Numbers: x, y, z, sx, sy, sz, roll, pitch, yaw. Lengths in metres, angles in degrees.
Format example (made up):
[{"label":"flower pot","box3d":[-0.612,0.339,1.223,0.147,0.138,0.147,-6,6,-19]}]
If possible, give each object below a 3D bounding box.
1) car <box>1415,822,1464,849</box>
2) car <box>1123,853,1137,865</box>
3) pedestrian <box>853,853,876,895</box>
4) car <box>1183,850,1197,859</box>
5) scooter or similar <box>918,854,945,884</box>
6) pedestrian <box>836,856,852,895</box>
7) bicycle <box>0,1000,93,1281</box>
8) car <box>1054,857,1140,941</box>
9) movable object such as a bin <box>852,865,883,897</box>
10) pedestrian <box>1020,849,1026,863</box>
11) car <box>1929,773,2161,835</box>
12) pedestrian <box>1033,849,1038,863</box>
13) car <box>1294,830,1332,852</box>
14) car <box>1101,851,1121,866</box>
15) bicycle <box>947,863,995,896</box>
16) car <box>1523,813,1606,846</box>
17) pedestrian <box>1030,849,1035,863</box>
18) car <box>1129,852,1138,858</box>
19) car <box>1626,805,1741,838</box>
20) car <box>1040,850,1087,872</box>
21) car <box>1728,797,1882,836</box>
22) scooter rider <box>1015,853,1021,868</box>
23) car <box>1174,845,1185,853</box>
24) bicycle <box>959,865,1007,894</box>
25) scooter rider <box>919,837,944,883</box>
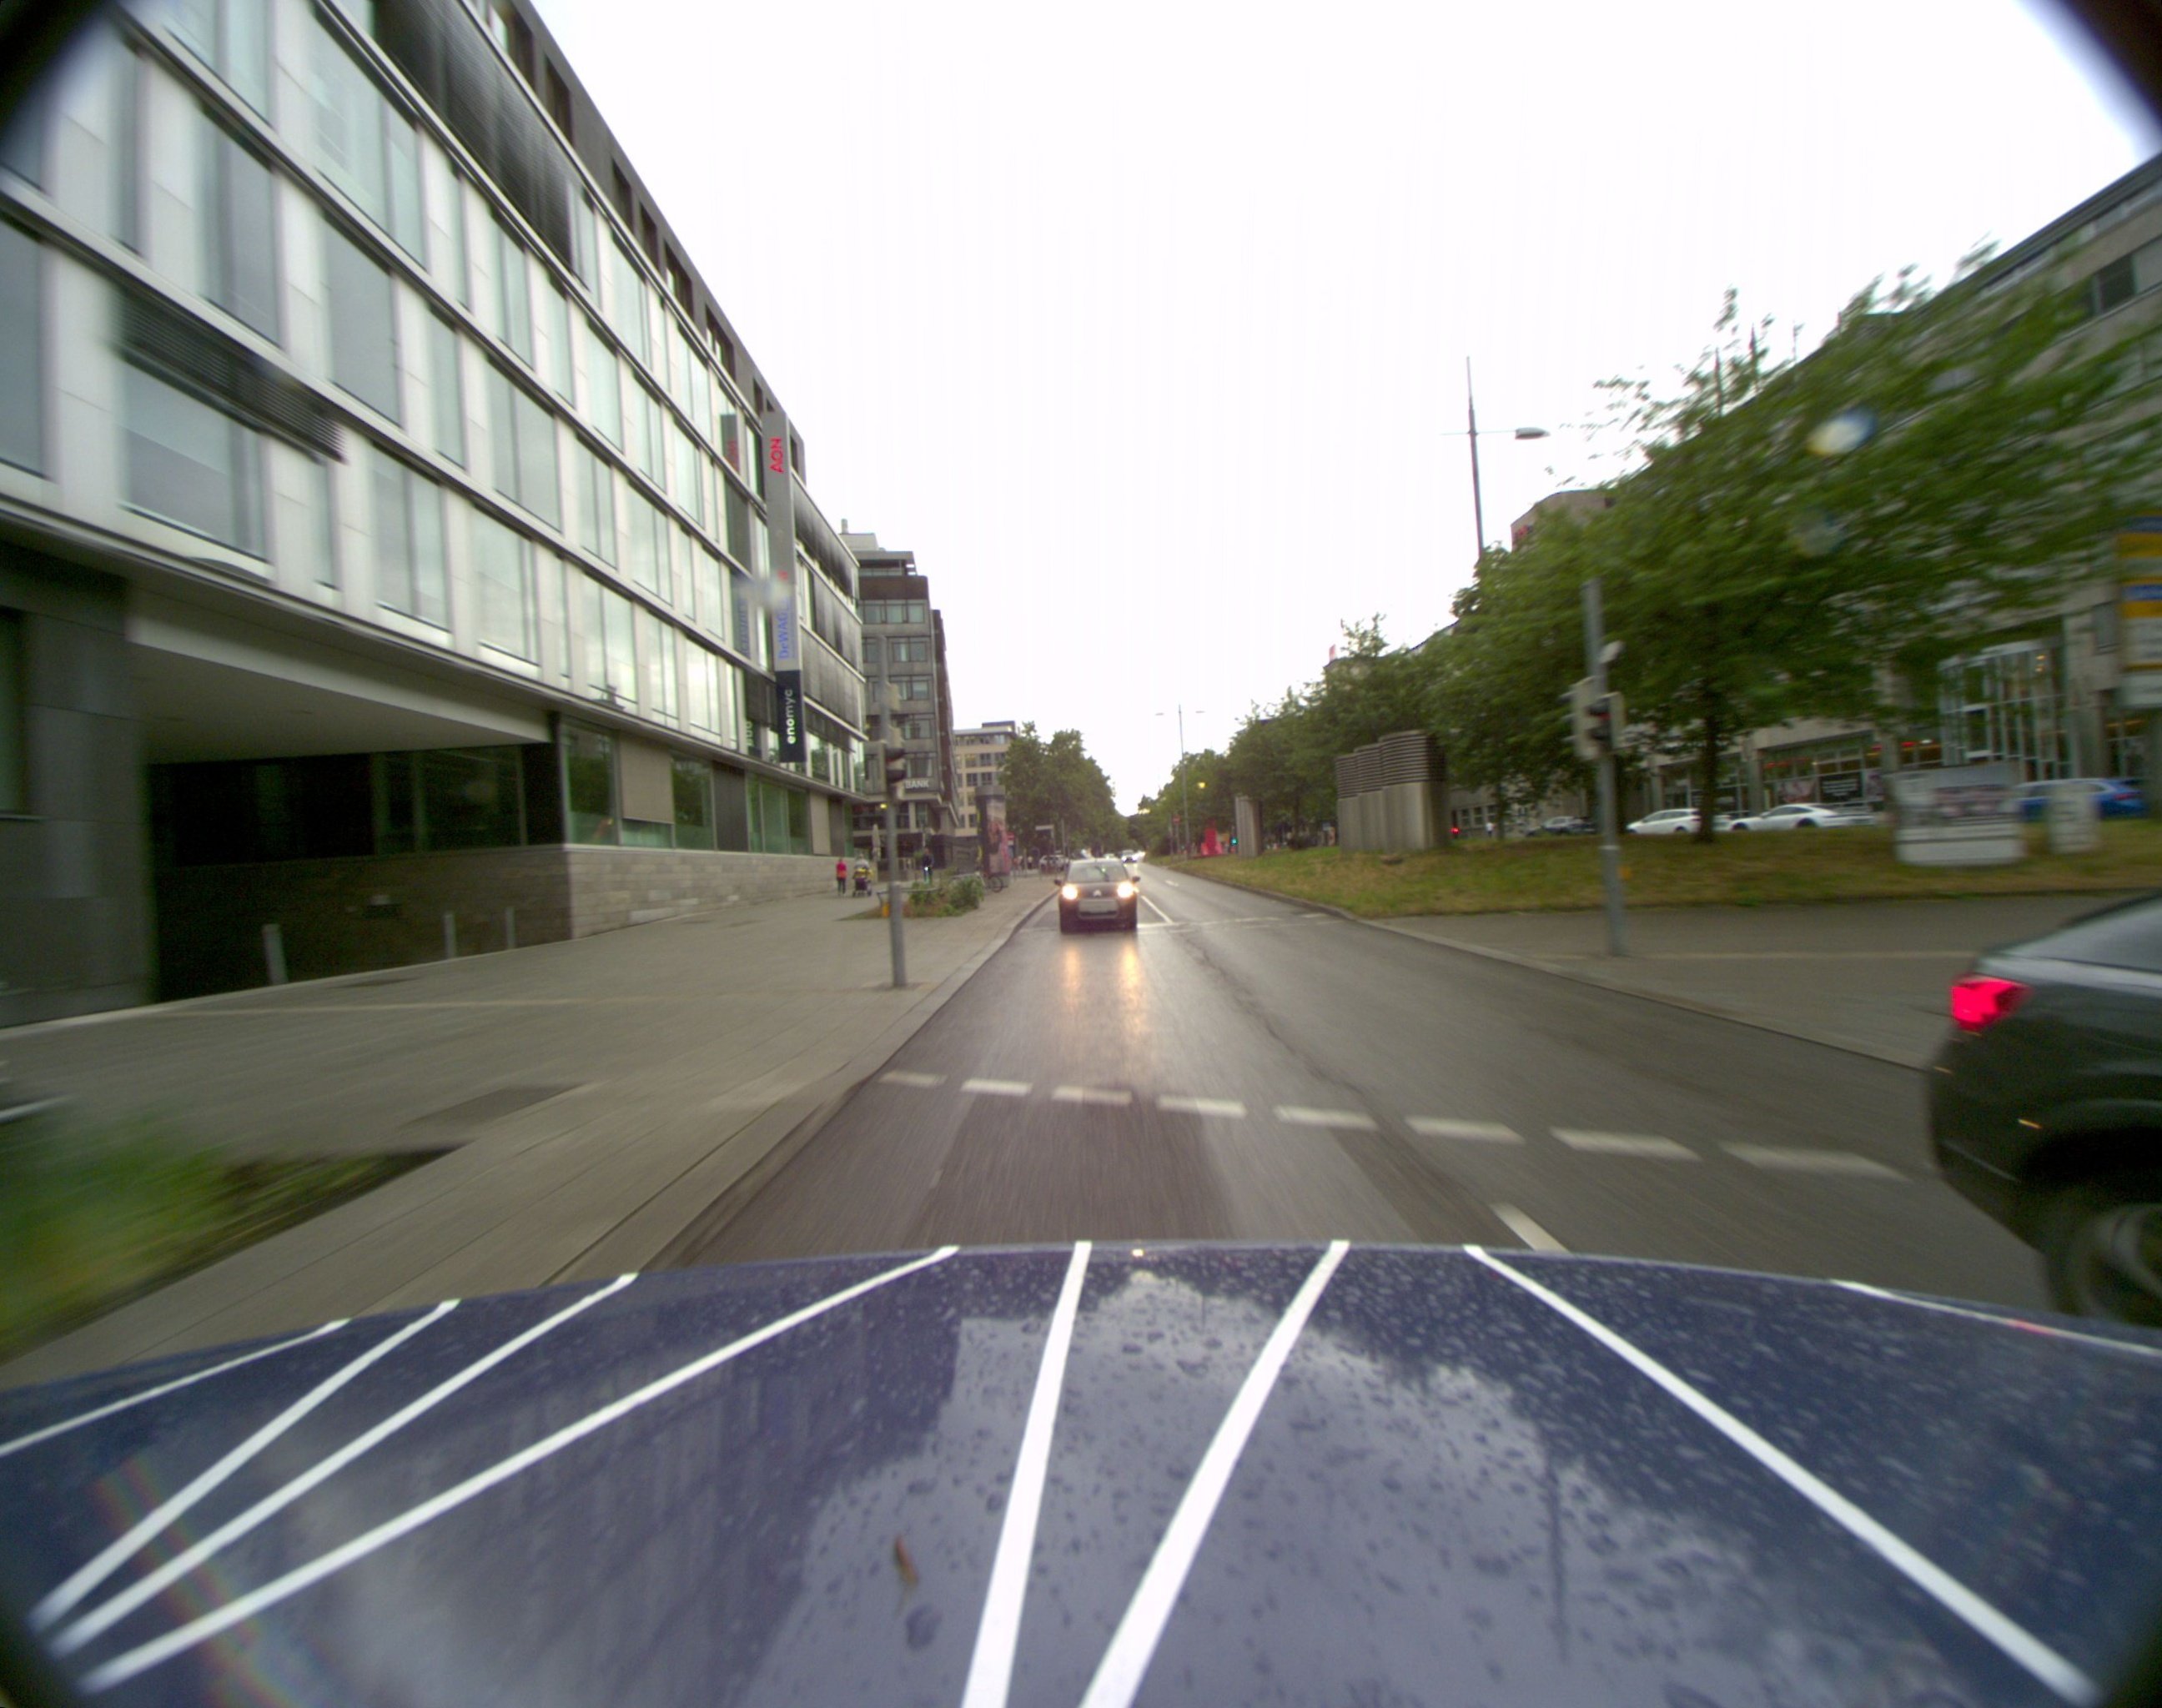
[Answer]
[{"label":"car","box3d":[19.878,-1.003,42.208,1.411,1.377,2.627,-5,1,0]},{"label":"car","box3d":[6.586,0.643,103.277,1.605,1.377,3.019,-5,1,0]},{"label":"pedestrian","box3d":[-9.510,0.858,33.394,0.723,1.820,0.746,-2,1,-2]},{"label":"car","box3d":[21.925,0.040,153.050,2.072,1.578,4.107,-5,0,0]},{"label":"scooter or similar","box3d":[-6.696,0.665,34.064,0.779,1.298,1.335,-3,1,4]},{"label":"pedestrian","box3d":[-10.400,0.934,33.342,0.485,1.689,0.579,-2,1,-2]},{"label":"bicycle","box3d":[-5.181,1.206,2.890,1.735,1.064,0.689,-3,1,-6]},{"label":"car","box3d":[0.373,0.896,16.740,1.594,1.501,3.709,-3,0,2]},{"label":"movable object such as a bin","box3d":[-9.027,1.125,32.151,0.804,1.258,1.787,-2,1,-2]},{"label":"pedestrian","box3d":[-6.979,0.271,91.926,0.552,1.692,0.547,-3,1,1]},{"label":"car","box3d":[27.521,-1.358,21.630,1.680,1.377,4.319,-5,0,-4]},{"label":"pedestrian","box3d":[-5.490,0.197,91.918,0.452,1.692,0.497,-3,1,1]},{"label":"car","box3d":[19.420,-1.054,63.713,1.880,1.571,4.107,-5,0,0]},{"label":"car","box3d":[3.623,0.498,92.237,2.072,1.578,4.107,-5,0,0]},{"label":"bicycle","box3d":[-4.261,0.996,29.511,1.797,1.200,0.669,-2,0,-6]},{"label":"car","box3d":[26.318,-1.296,41.510,1.575,1.571,4.106,-5,0,-4]},{"label":"pedestrian","box3d":[-5.909,0.219,91.866,0.452,1.692,0.497,-3,1,1]},{"label":"car","box3d":[12.571,0.234,181.366,1.799,1.501,4.500,-3,0,1]},{"label":"car","box3d":[26.577,-1.402,33.721,1.575,1.116,4.106,-5,0,-4]},{"label":"car","box3d":[-1.780,0.697,77.030,4.202,1.802,2.003,-5,1,35]},{"label":"car","box3d":[26.691,-1.327,28.229,1.575,1.116,4.106,-5,0,-4]},{"label":"scooter rider","box3d":[-8.412,0.872,102.090,0.627,2.013,0.854,-3,1,-2]},{"label":"car","box3d":[22.353,-1.136,172.501,2.072,1.578,4.107,-5,0,0]},{"label":"bicycle","box3d":[-4.038,1.037,31.376,1.876,1.103,0.670,-2,0,1]},{"label":"scooter rider","box3d":[-6.707,0.272,34.127,0.779,2.009,0.924,-3,1,4]}]
